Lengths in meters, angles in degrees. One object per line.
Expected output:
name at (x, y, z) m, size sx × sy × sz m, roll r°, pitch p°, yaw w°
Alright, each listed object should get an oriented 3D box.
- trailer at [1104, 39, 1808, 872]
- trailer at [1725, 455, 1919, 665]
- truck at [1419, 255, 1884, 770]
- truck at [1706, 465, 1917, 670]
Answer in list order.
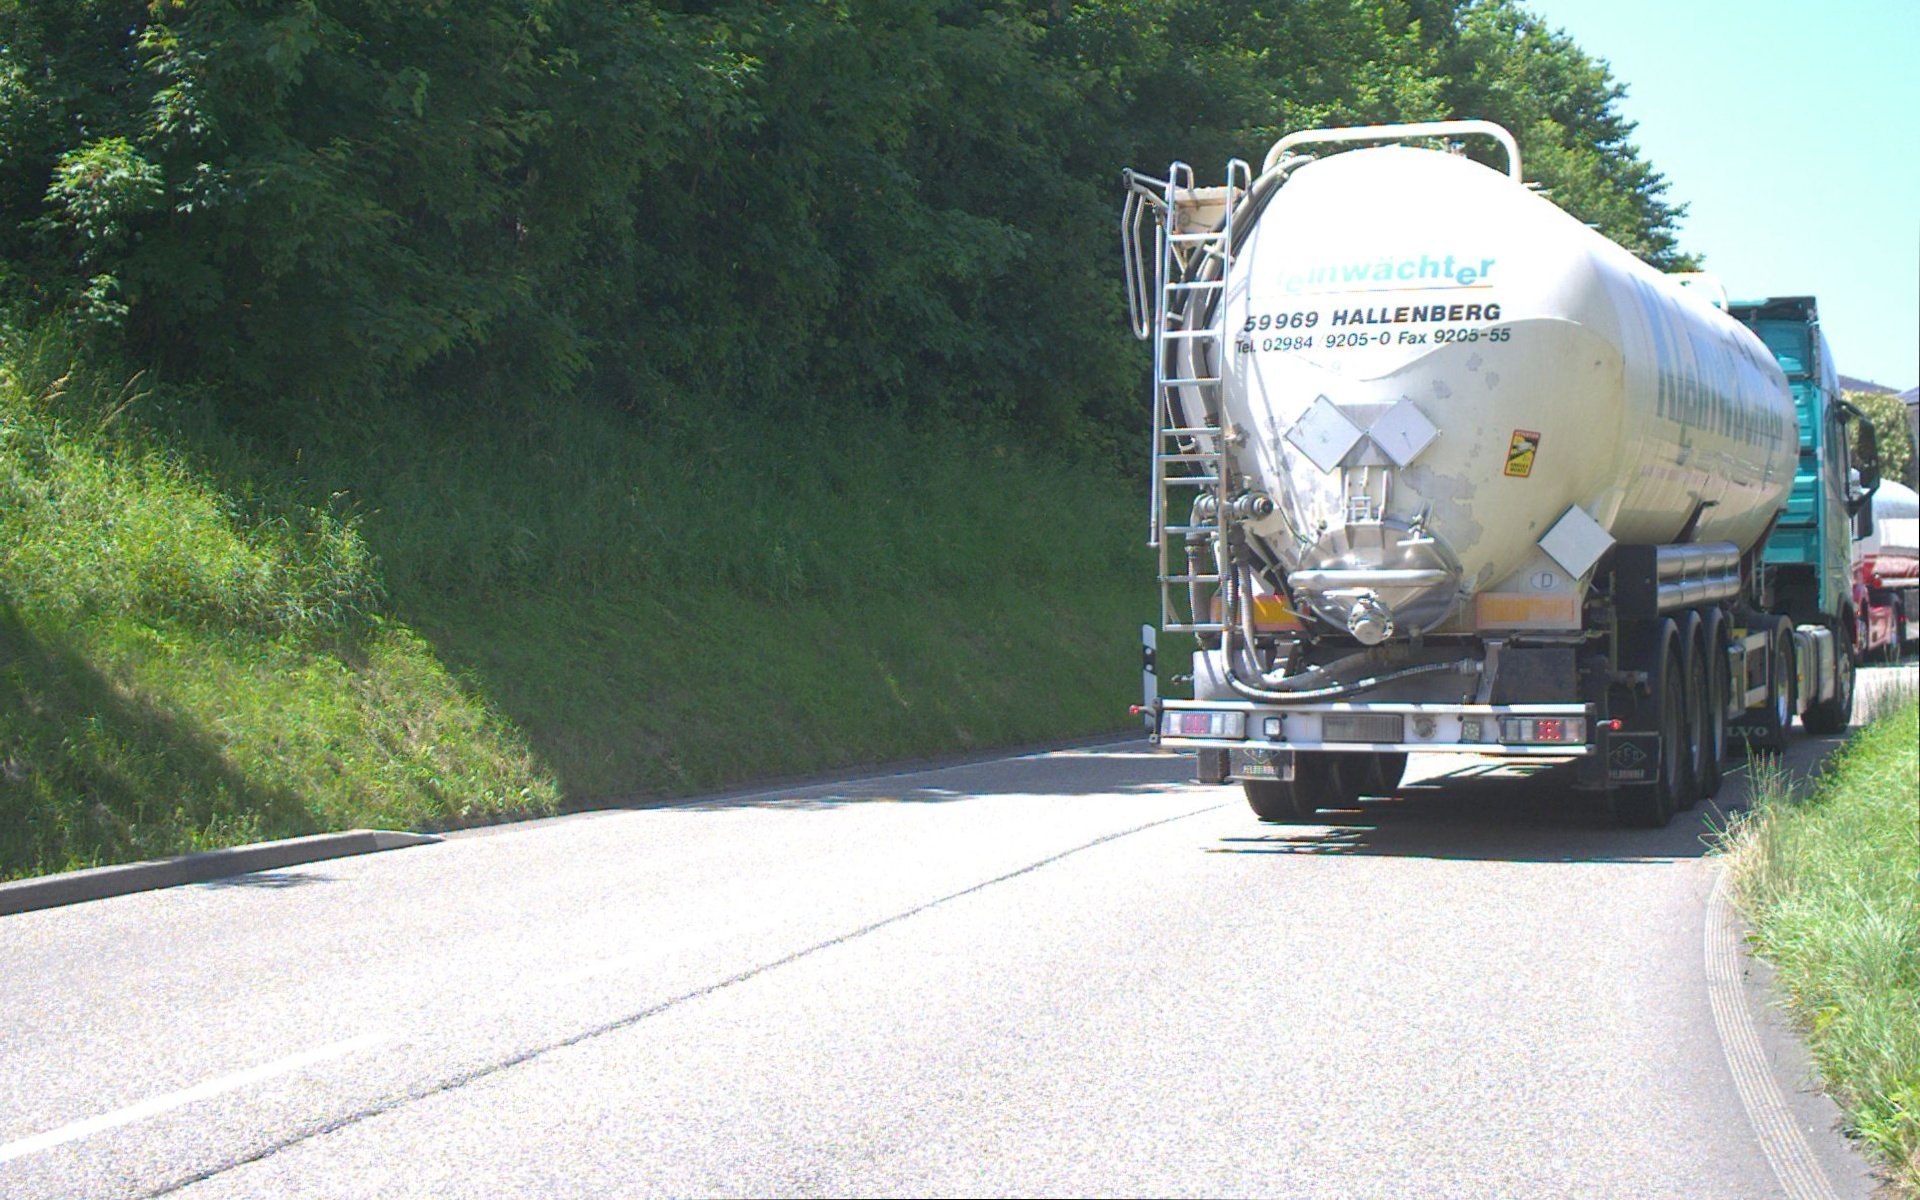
trailer at (3.896, -0.763, 23.288) m, size 2.663 × 4.174 × 11.893 m, roll 0°, pitch 0°, yaw 18°
trailer at (15.740, -0.670, 61.165) m, size 2.635 × 3.361 × 11.131 m, roll -1°, pitch 0°, yaw 20°
truck at (6.237, -0.659, 30.053) m, size 2.730 × 3.916 × 7.255 m, roll 0°, pitch 0°, yaw 22°
truck at (14.248, -0.519, 57.149) m, size 2.628 × 3.160 × 7.061 m, roll -1°, pitch 0°, yaw 20°
